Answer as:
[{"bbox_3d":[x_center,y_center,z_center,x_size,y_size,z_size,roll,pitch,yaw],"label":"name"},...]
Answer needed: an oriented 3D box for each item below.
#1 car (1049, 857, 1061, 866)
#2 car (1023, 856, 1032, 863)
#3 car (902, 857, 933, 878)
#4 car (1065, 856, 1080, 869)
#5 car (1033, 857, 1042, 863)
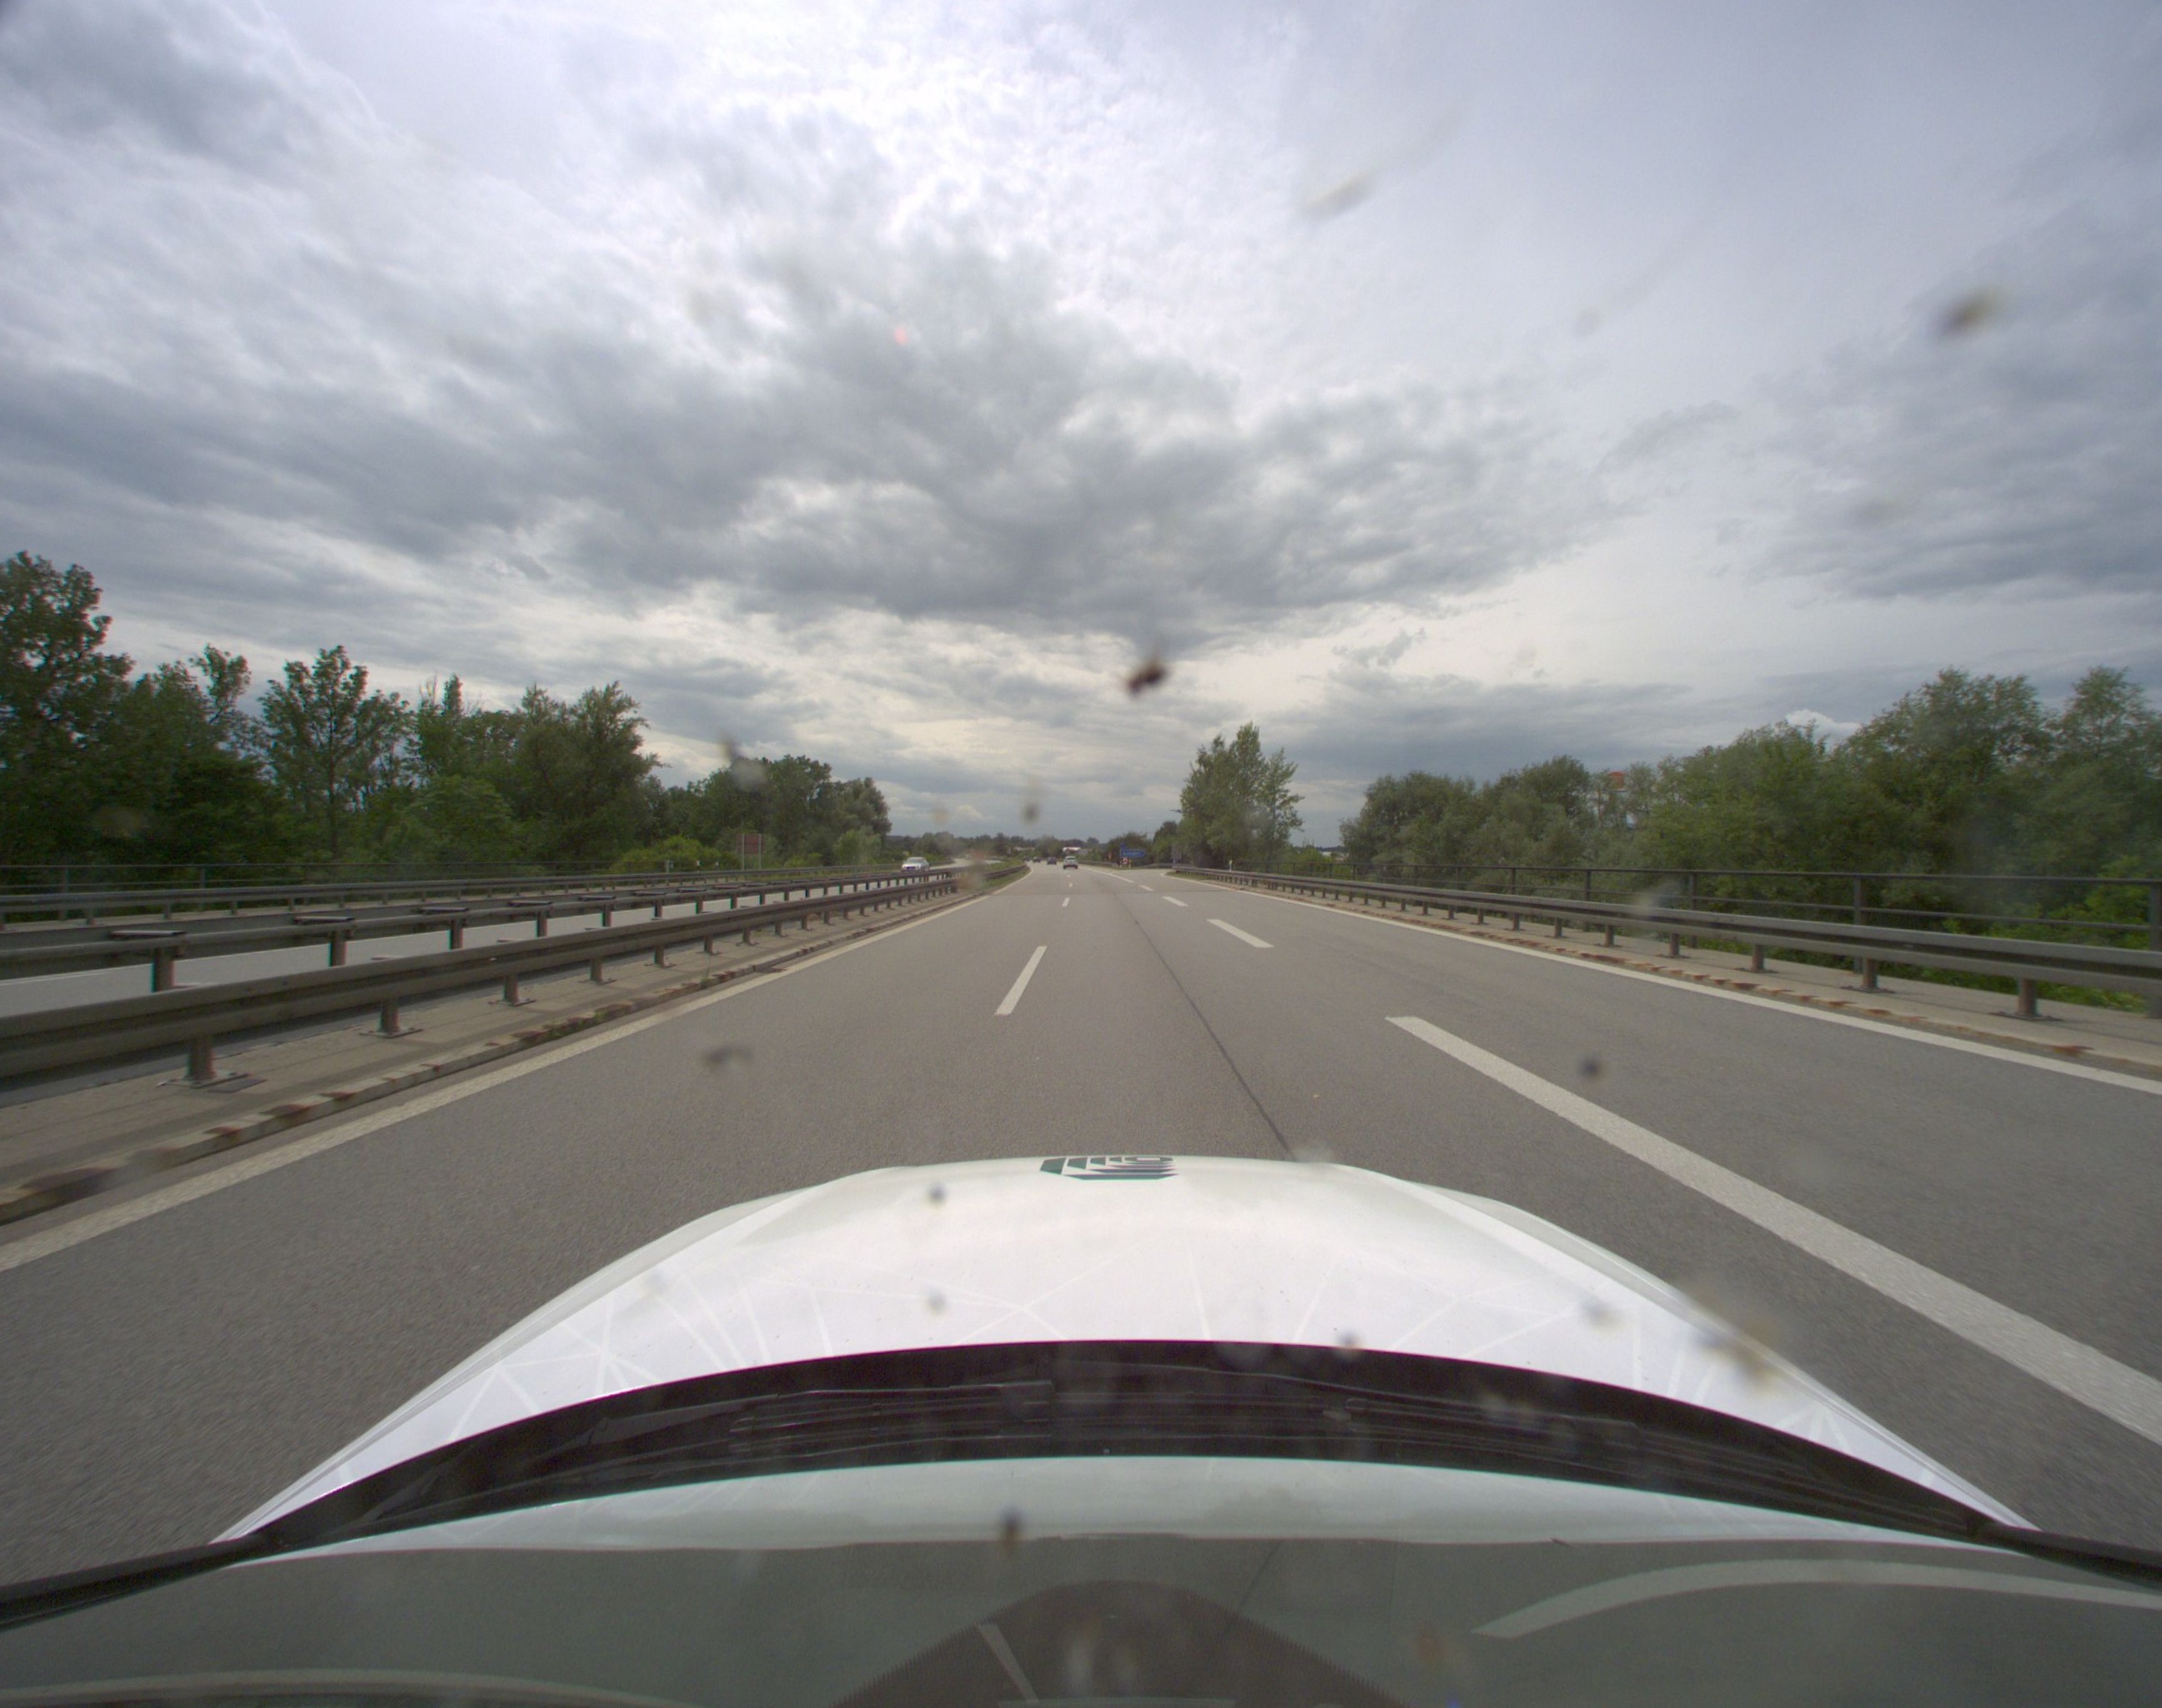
[{"bbox_3d":[-5.131,1.449,161.694,1.892,1.640,4.608,0,0,-9],"label":"car"},{"bbox_3d":[-15.634,1.637,235.781,1.829,1.793,4.393,-3,1,-13],"label":"car"},{"bbox_3d":[-13.685,1.114,68.332,1.637,1.715,4.979,0,0,0],"label":"car"},{"bbox_3d":[-1.154,1.165,108.493,1.898,1.640,4.391,0,0,-3],"label":"car"},{"bbox_3d":[-10.962,1.543,204.660,1.901,1.640,4.765,0,0,-8],"label":"car"}]
